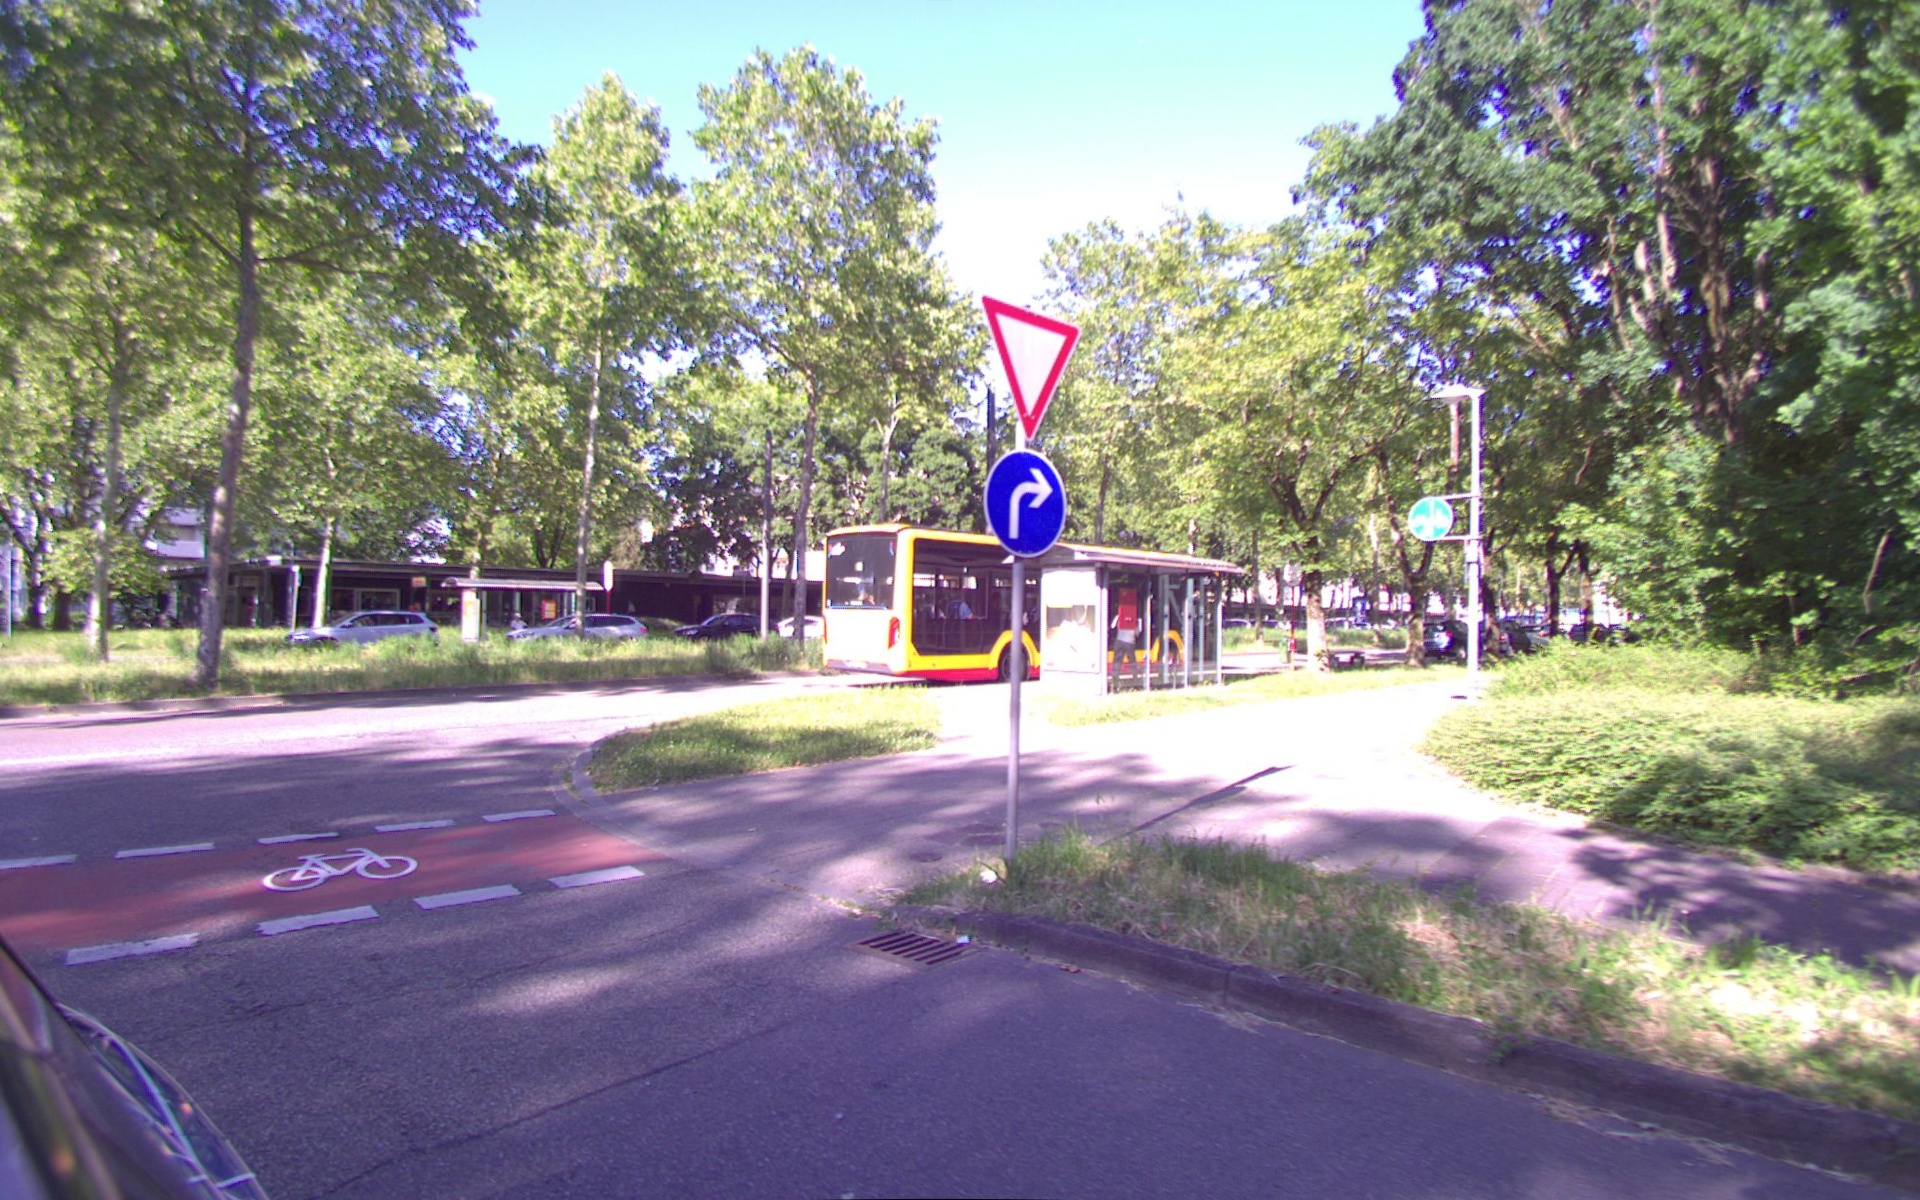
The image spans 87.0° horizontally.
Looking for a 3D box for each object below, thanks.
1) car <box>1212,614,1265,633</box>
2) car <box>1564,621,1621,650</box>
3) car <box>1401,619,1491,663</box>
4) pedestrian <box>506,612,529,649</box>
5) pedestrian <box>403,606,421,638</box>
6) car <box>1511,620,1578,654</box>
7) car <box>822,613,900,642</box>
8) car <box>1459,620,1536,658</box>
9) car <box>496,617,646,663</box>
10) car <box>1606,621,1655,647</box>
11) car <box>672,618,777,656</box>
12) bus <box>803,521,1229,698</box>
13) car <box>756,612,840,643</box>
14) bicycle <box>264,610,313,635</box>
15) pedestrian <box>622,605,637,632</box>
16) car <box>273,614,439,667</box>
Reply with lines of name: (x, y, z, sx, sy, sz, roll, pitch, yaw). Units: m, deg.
car: (22.842, 1.898, 83.121, 3.979, 1.522, 1.784, 0, -1, 26)
car: (34.247, 1.915, 54.766, 1.801, 1.522, 3.941, -1, -2, 44)
car: (17.996, 1.480, 37.405, 1.801, 1.522, 3.941, -1, -2, 44)
pedestrian: (-17.771, 1.231, 40.637, 0.640, 1.471, 0.651, 1, -2, -42)
pedestrian: (-28.825, 1.147, 53.227, 0.650, 1.674, 0.641, -1, -2, 41)
car: (27.397, 1.737, 47.411, 1.801, 1.522, 3.941, -1, -2, 44)
car: (-5.184, 1.442, 53.159, 3.944, 1.522, 1.800, 0, -1, 0)
car: (22.430, 1.596, 42.165, 1.801, 1.522, 3.941, -1, -2, 44)
car: (-13.525, 1.360, 35.392, 1.800, 1.522, 4.608, -1, -2, 43)
car: (41.363, 2.088, 62.426, 1.801, 1.522, 3.941, -1, -2, 44)
car: (-9.838, 1.519, 42.420, 3.939, 1.522, 1.802, 1, -2, -43)
bus: (2.019, 0.306, 24.156, 2.911, 3.291, 12.038, -1, -2, 45)
car: (-8.083, 1.378, 50.673, 3.944, 1.522, 1.800, 0, -1, 0)
bicycle: (-30.565, 1.006, 46.088, 0.555, 1.116, 1.777, -1, -2, 37)
pedestrian: (-20.670, 1.161, 63.210, 0.650, 1.674, 0.641, -1, -2, 41)
car: (-19.124, 1.250, 32.139, 4.223, 1.592, 1.801, 1, -2, -44)
